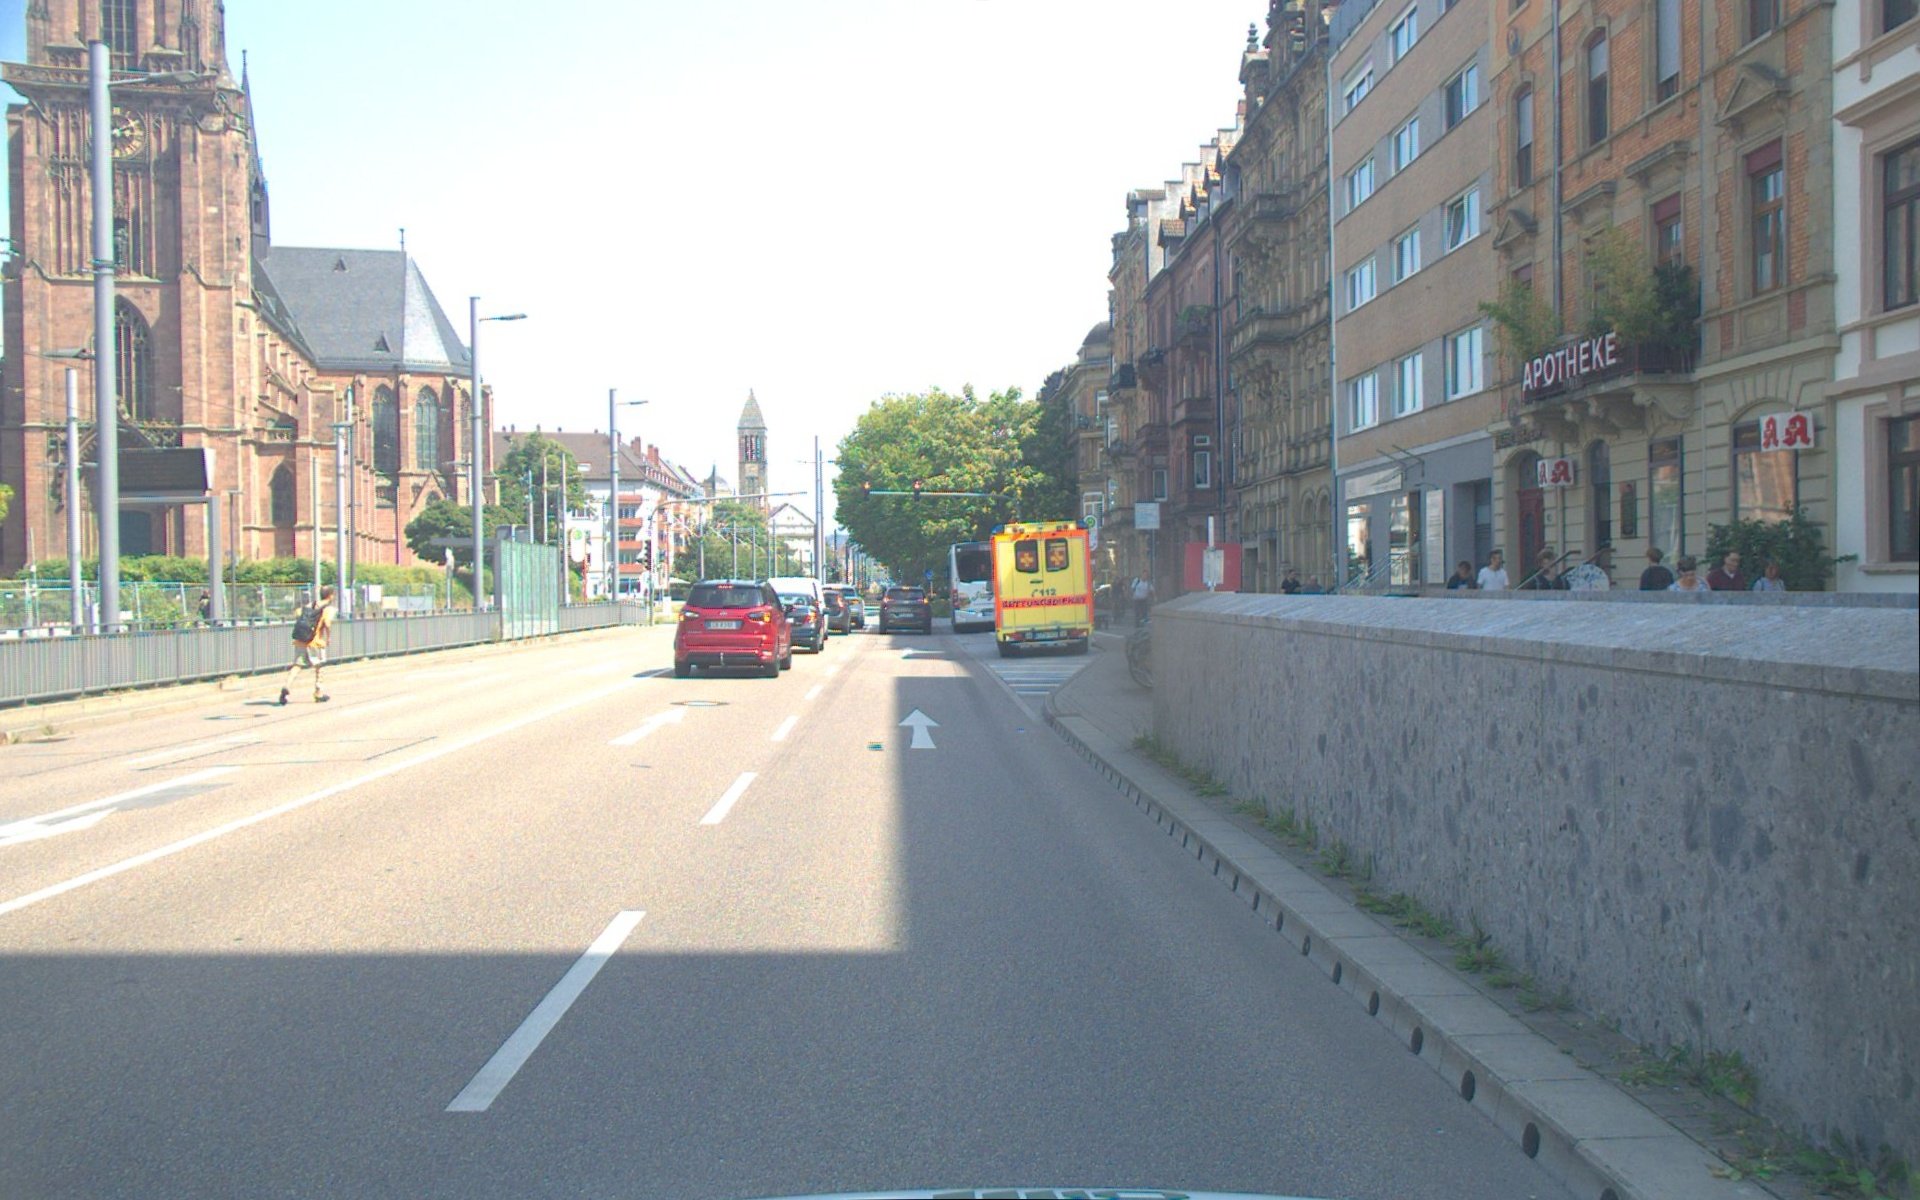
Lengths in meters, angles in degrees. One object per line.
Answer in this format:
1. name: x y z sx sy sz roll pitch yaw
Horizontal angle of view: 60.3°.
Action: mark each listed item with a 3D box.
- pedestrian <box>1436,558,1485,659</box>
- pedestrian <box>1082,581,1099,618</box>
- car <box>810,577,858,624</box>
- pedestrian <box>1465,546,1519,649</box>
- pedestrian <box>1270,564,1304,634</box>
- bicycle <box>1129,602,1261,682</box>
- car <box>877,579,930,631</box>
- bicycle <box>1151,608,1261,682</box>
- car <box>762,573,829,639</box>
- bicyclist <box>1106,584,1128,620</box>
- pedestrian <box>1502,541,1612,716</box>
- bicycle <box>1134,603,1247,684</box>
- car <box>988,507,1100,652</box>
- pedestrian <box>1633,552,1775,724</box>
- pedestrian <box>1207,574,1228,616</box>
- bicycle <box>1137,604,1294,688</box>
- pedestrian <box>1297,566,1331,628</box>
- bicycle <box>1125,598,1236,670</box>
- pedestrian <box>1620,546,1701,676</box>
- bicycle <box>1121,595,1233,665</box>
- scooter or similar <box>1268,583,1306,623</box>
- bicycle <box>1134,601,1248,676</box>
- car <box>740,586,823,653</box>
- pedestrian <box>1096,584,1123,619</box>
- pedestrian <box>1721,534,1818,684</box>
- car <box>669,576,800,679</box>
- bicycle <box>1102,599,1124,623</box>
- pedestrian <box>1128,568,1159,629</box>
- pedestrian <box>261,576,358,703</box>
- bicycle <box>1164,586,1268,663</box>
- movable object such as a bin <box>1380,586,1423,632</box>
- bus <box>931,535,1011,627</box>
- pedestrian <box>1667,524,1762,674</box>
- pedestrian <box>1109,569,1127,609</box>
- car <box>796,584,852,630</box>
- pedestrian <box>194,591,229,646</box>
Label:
1. pedestrian: 9.096 0.152 30.080 0.565 1.780 0.679 -3 0 -2
2. pedestrian: 6.050 -0.044 76.749 0.682 1.696 1.064 -1 0 0
3. car: -4.850 0.031 63.968 1.754 1.727 3.997 -1 0 -3
4. pedestrian: 9.702 -0.049 30.166 0.587 1.826 0.879 -3 0 -2
5. pedestrian: 8.080 -0.033 40.917 0.630 1.714 0.789 -1 0 -3
6. bicycle: 3.291 0.581 23.191 1.798 1.090 0.365 0 2 -2
7. car: -1.994 0.178 57.608 1.754 1.707 3.997 -1 0 -3
8. bicycle: 3.512 0.640 23.650 1.506 1.034 0.365 0 2 -2
9. car: -4.724 0.163 48.003 1.754 1.811 3.997 -1 0 -3
10. bicyclist: 5.915 0.067 62.430 0.738 1.345 0.581 -1 0 -2
11. pedestrian: 6.302 0.284 17.493 0.832 1.759 0.972 -2 3 4
12. bicycle: 3.172 0.600 22.811 1.506 1.090 0.365 0 2 -2
13. car: 1.838 -0.480 37.443 2.251 2.938 5.601 -2 1 2
14. pedestrian: 7.258 0.349 16.140 0.843 1.609 0.959 -1 0 -35
15. pedestrian: 10.141 -0.214 65.100 0.611 1.621 0.695 -1 1 -8
16. bicycle: 3.457 0.615 22.416 2.080 1.090 0.381 0 2 -7
17. pedestrian: 8.750 -0.080 40.922 0.630 1.519 0.789 -1 0 -3
18. bicycle: 3.419 0.523 25.745 1.624 1.090 0.644 0 0 -2
19. pedestrian: 10.497 0.160 24.794 0.826 1.878 0.684 -3 1 -11
20. bicycle: 3.472 0.481 26.563 1.739 1.090 0.644 0 0 2
21. scooter or similar: 9.986 0.088 50.524 0.505 1.217 1.296 -1 0 -21
22. bicycle: 3.472 0.567 24.972 1.624 1.090 0.644 0 2 -2
23. car: -4.182 0.417 39.209 1.755 1.456 3.997 -1 1 -4
24. pedestrian: 7.997 0.075 88.552 1.224 1.782 1.526 -1 3 -1
25. pedestrian: 10.041 0.091 20.538 0.670 1.804 1.017 -1 2 -3
26. car: -3.874 0.414 28.973 1.726 1.646 4.082 -1 1 0
27. bicycle: 5.766 0.393 62.447 0.577 0.869 1.774 -1 1 -4
28. pedestrian: 5.082 -0.044 45.798 0.683 1.696 0.602 0 0 24
29. pedestrian: -9.349 0.553 23.808 0.745 1.782 1.068 -1 0 24
30. bicycle: 4.205 0.402 27.288 1.638 1.237 0.644 0 0 3
31. movable object such as a bin: 10.608 0.210 39.748 0.751 1.066 0.643 -1 1 45
32. bus: 0.264 -0.721 62.308 2.483 3.084 12.431 -1 1 -2
33. pedestrian: 9.320 -0.029 20.461 0.670 1.804 1.017 -1 2 -3
34. pedestrian: 6.662 -0.457 69.856 0.682 1.696 0.603 -1 0 0
35. car: -4.598 0.233 56.358 1.754 1.498 3.997 -1 0 -3
36. pedestrian: -24.497 0.600 54.136 0.812 1.782 0.720 -1 0 -2
